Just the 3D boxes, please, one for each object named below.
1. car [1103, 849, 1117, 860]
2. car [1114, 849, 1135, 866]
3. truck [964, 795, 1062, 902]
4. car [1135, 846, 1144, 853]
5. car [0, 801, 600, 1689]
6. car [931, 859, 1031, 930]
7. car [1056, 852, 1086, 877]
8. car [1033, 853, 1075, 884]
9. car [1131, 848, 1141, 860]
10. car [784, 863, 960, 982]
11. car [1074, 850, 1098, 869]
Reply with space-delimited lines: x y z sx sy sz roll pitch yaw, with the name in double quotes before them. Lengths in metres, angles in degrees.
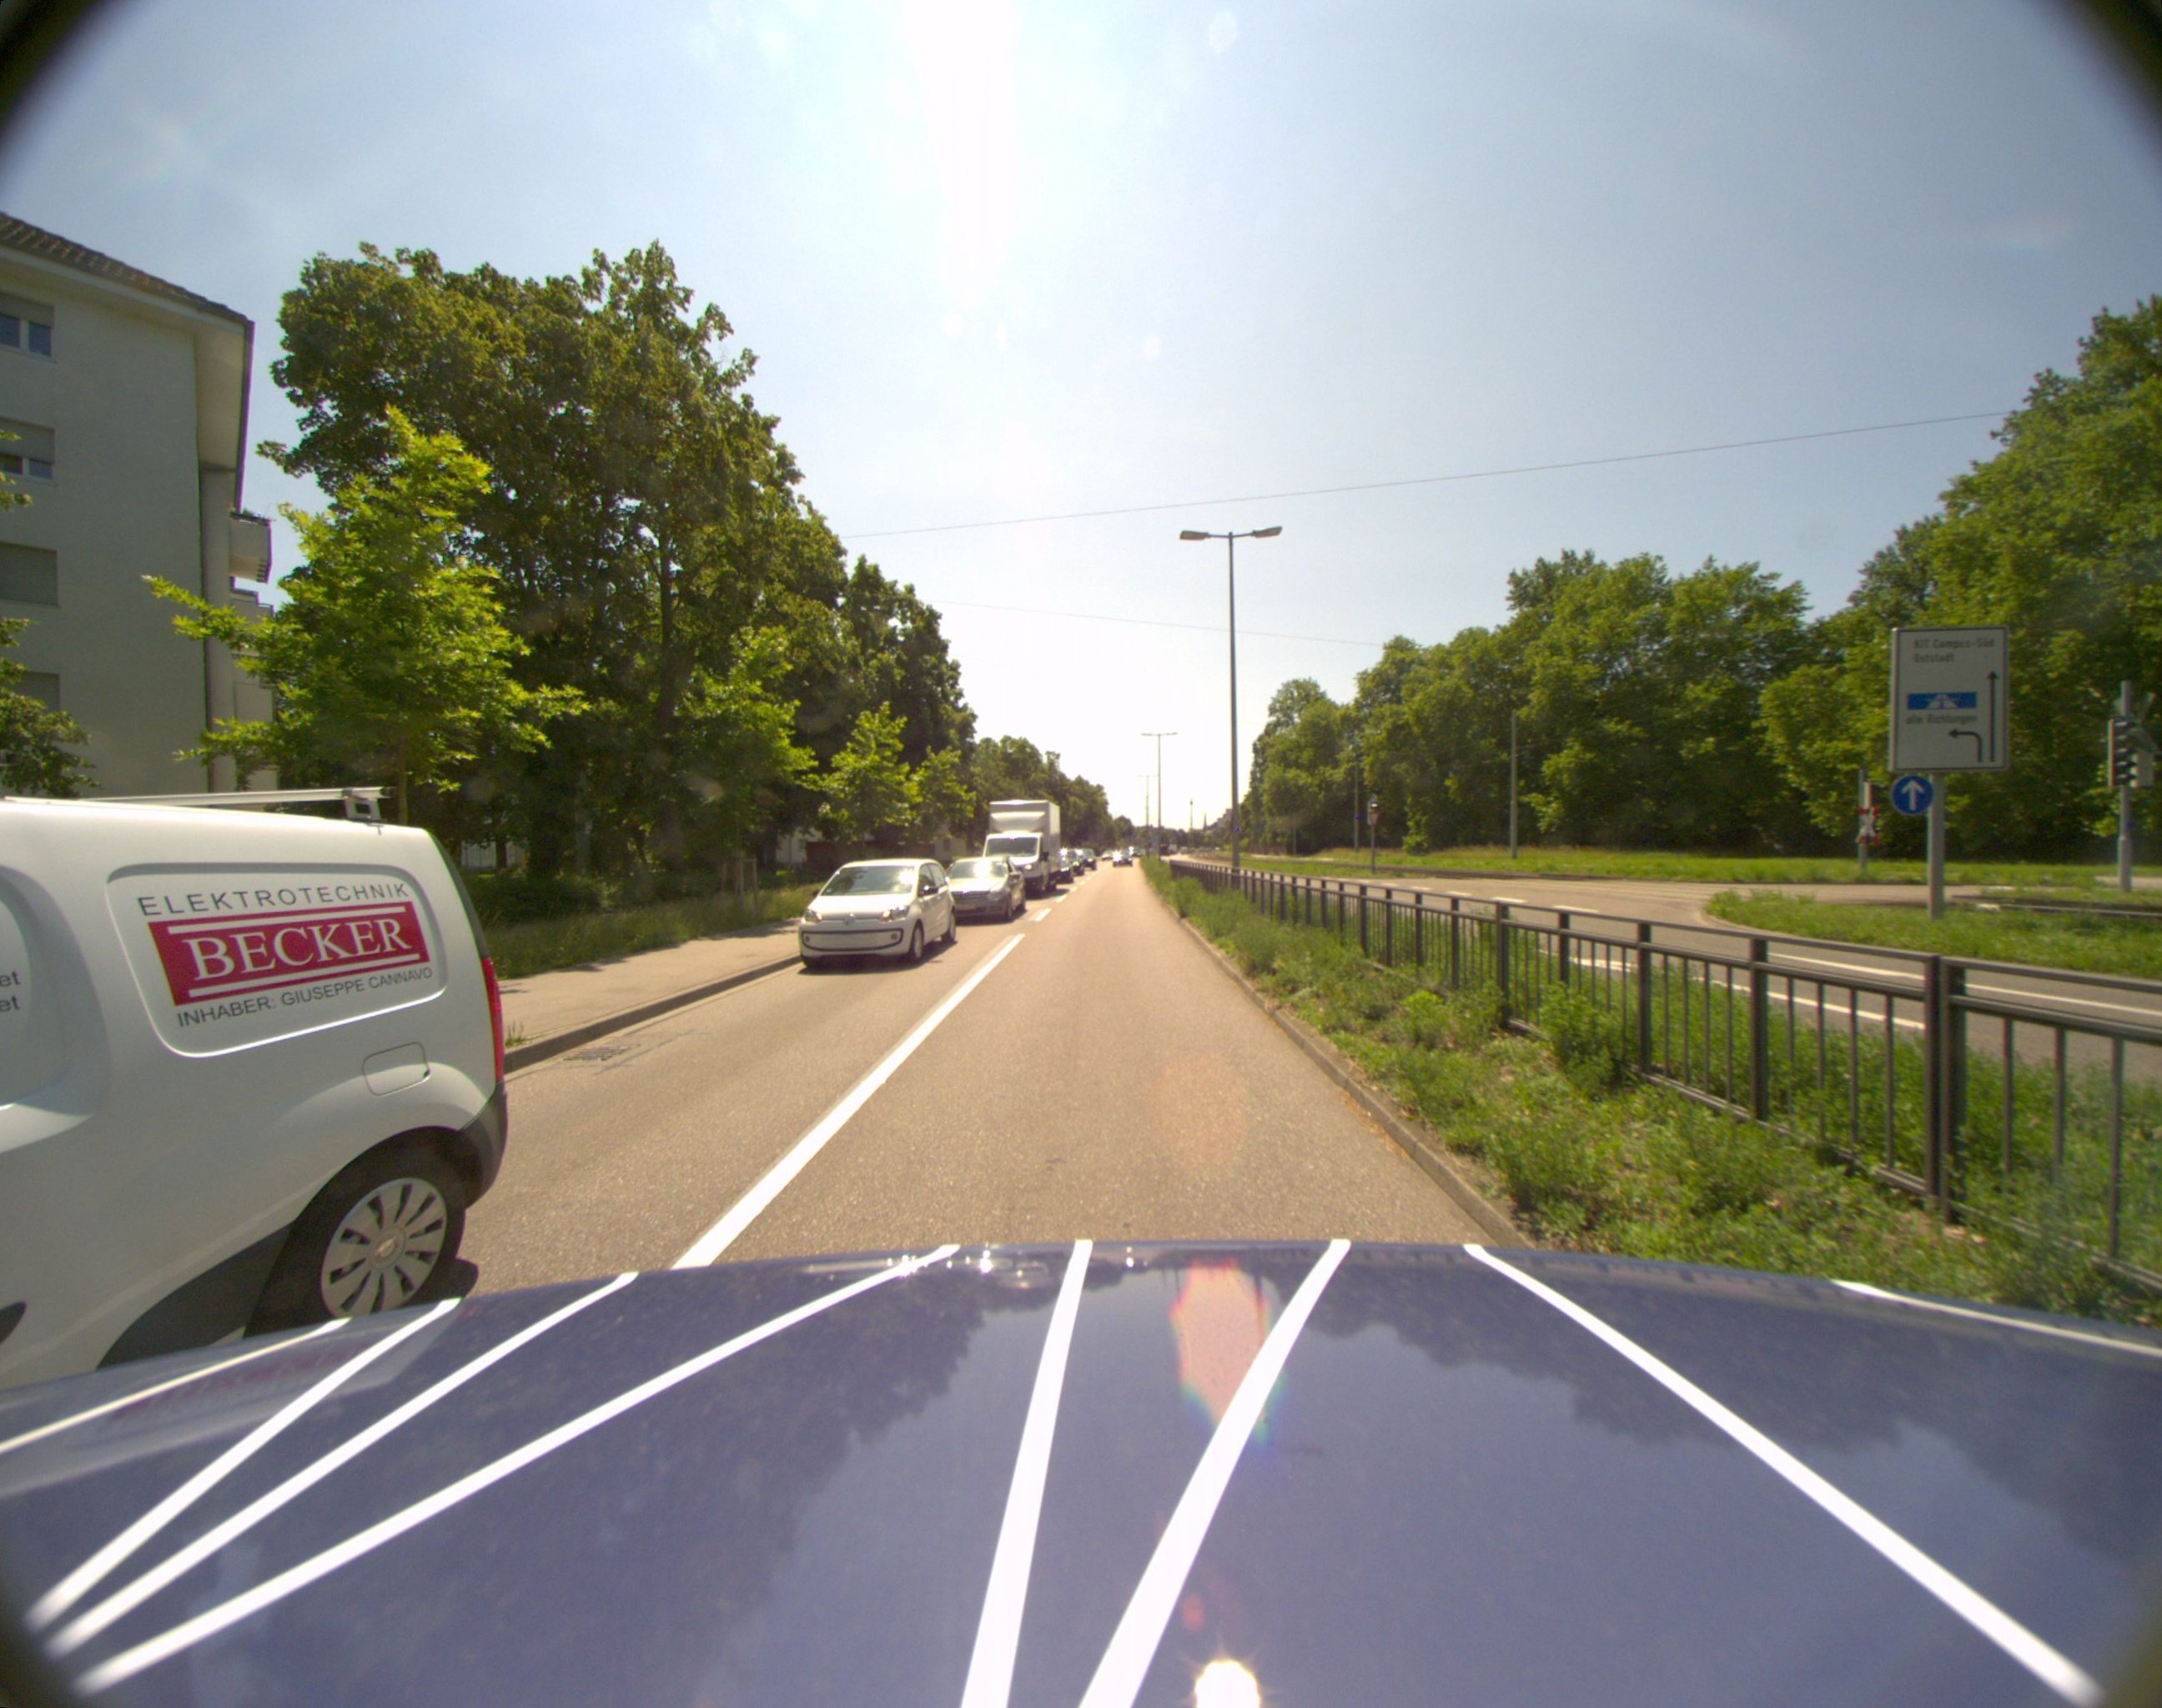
"car" 4.187 0.055 109.705 1.745 1.382 3.888 -1 1 4
"car" 3.904 0.301 68.323 1.746 1.382 3.887 -1 1 2
"truck" -2.214 -0.195 26.965 2.489 3.277 6.605 -1 1 3
"car" 12.210 -0.895 158.401 1.745 1.382 3.889 -1 1 7
"car" -3.194 0.850 0.934 1.809 1.845 5.082 -2 1 1
"car" -2.233 0.857 17.994 1.618 1.373 4.115 -2 1 2
"car" -0.599 0.631 47.501 1.618 1.373 4.115 -2 1 2
"car" -1.260 0.668 36.825 1.746 1.382 3.887 -1 1 2
"car" 9.335 -0.017 129.194 1.745 1.840 3.887 -1 1 3
"car" -3.034 0.930 11.761 1.626 1.433 3.498 -2 1 1
"car" 0.433 0.375 59.075 1.746 1.382 3.887 -1 1 2
